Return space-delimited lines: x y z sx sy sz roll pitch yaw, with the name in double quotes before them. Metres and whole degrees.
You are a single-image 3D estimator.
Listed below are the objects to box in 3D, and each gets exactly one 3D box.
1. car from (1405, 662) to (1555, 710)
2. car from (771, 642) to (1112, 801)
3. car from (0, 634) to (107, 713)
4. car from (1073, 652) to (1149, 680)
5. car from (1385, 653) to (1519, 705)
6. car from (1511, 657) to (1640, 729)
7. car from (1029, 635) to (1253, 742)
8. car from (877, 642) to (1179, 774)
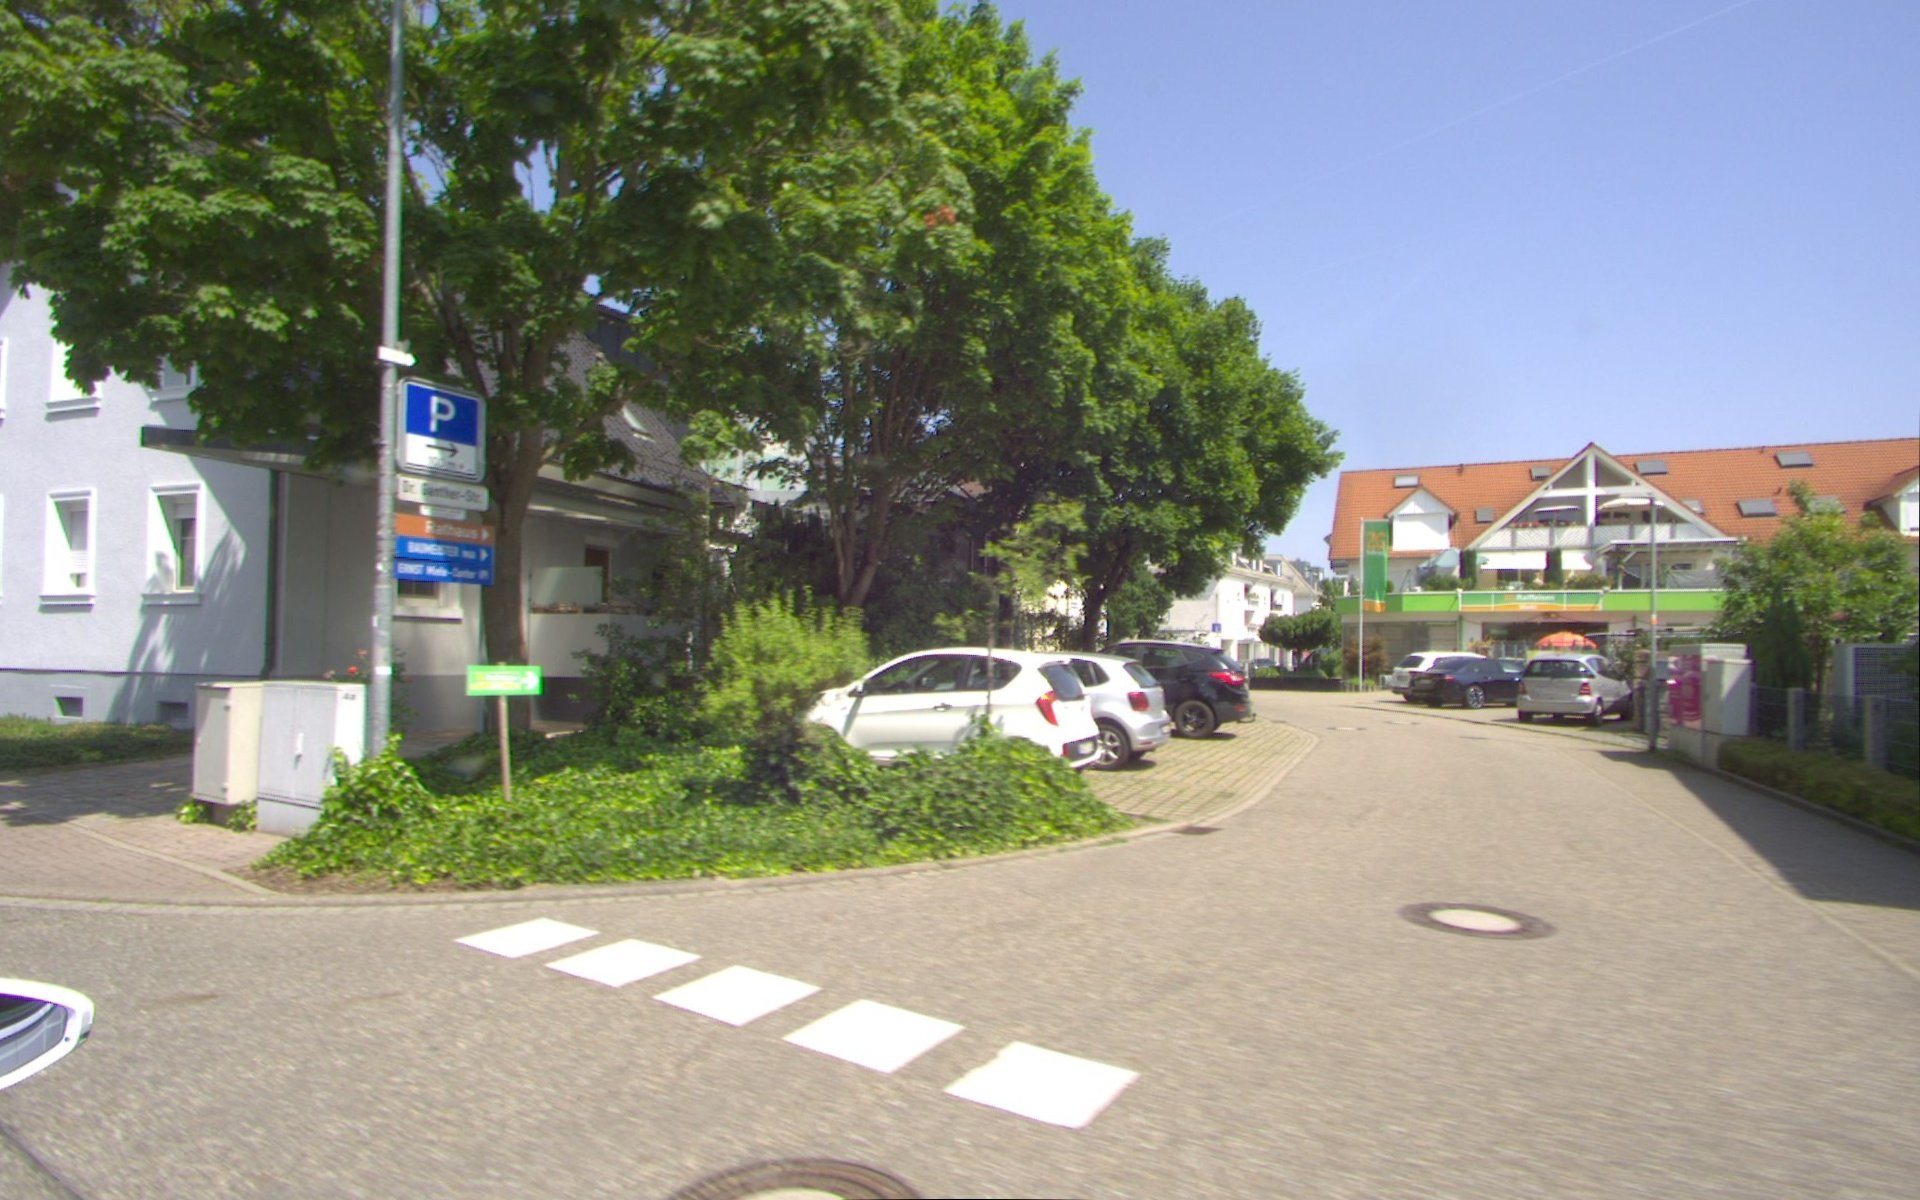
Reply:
"car" 15.682 2.598 30.237 3.929 1.323 1.701 2 -2 -15
"car" -0.206 1.271 11.381 3.508 1.463 1.593 1 -2 24
"car" -17.189 1.283 17.606 1.399 1.362 3.045 -1 -3 24
"car" 8.874 3.862 58.875 4.152 1.629 1.811 -1 -3 20
"car" 16.444 2.633 33.503 3.931 1.620 1.701 2 -2 -18
"car" 14.661 2.133 23.772 4.059 1.520 1.687 3 -3 -44
"car" 3.330 1.560 18.365 3.797 1.704 1.594 1 -2 21
"car" 0.937 1.393 13.734 3.799 1.492 1.593 1 -2 23
